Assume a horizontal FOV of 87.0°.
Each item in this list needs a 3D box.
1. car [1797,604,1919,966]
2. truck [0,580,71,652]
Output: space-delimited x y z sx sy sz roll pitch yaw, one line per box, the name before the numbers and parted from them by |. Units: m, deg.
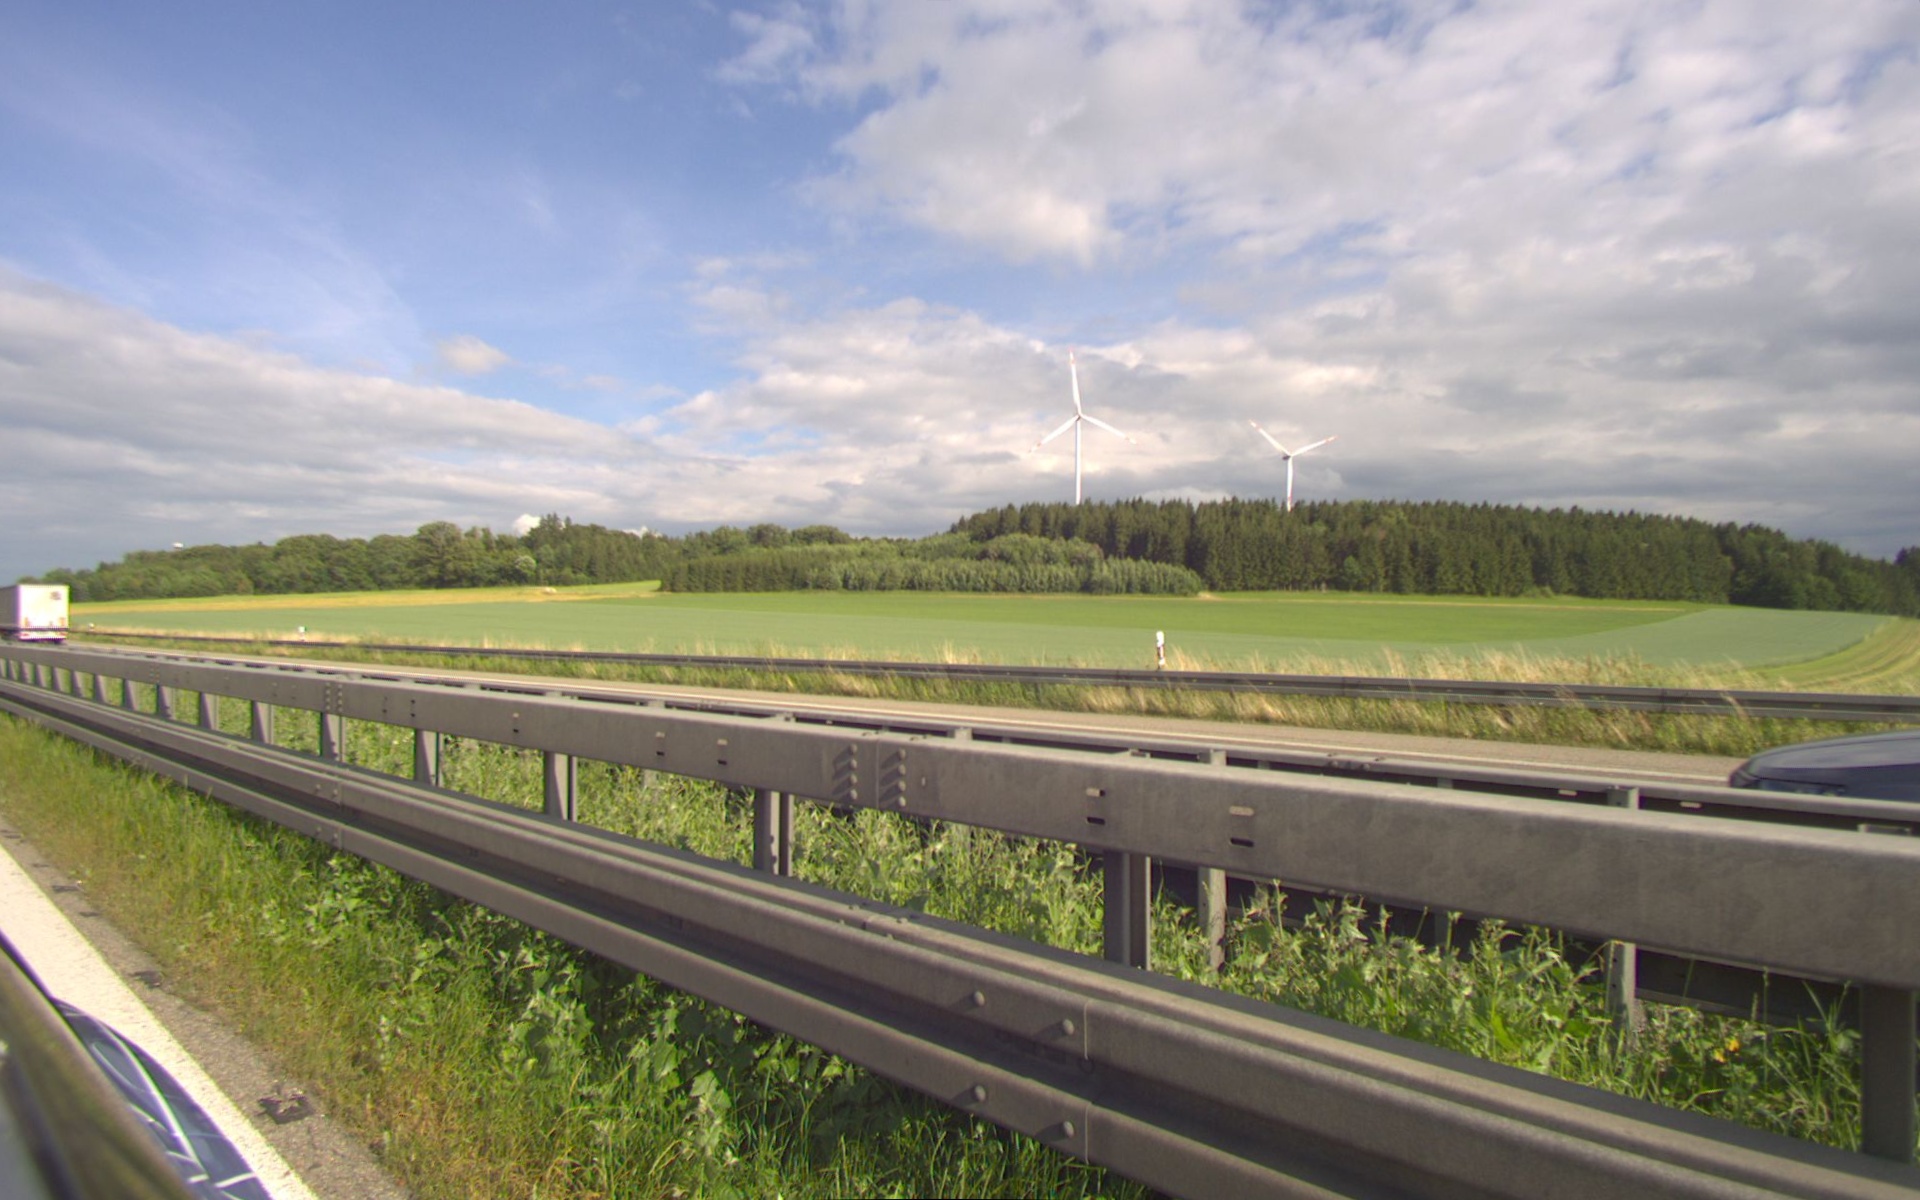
car | 6.026 0.813 4.083 4.062 1.597 1.599 -1 0 40
truck | -65.642 1.103 71.216 13.415 4.669 2.850 -1 0 41
